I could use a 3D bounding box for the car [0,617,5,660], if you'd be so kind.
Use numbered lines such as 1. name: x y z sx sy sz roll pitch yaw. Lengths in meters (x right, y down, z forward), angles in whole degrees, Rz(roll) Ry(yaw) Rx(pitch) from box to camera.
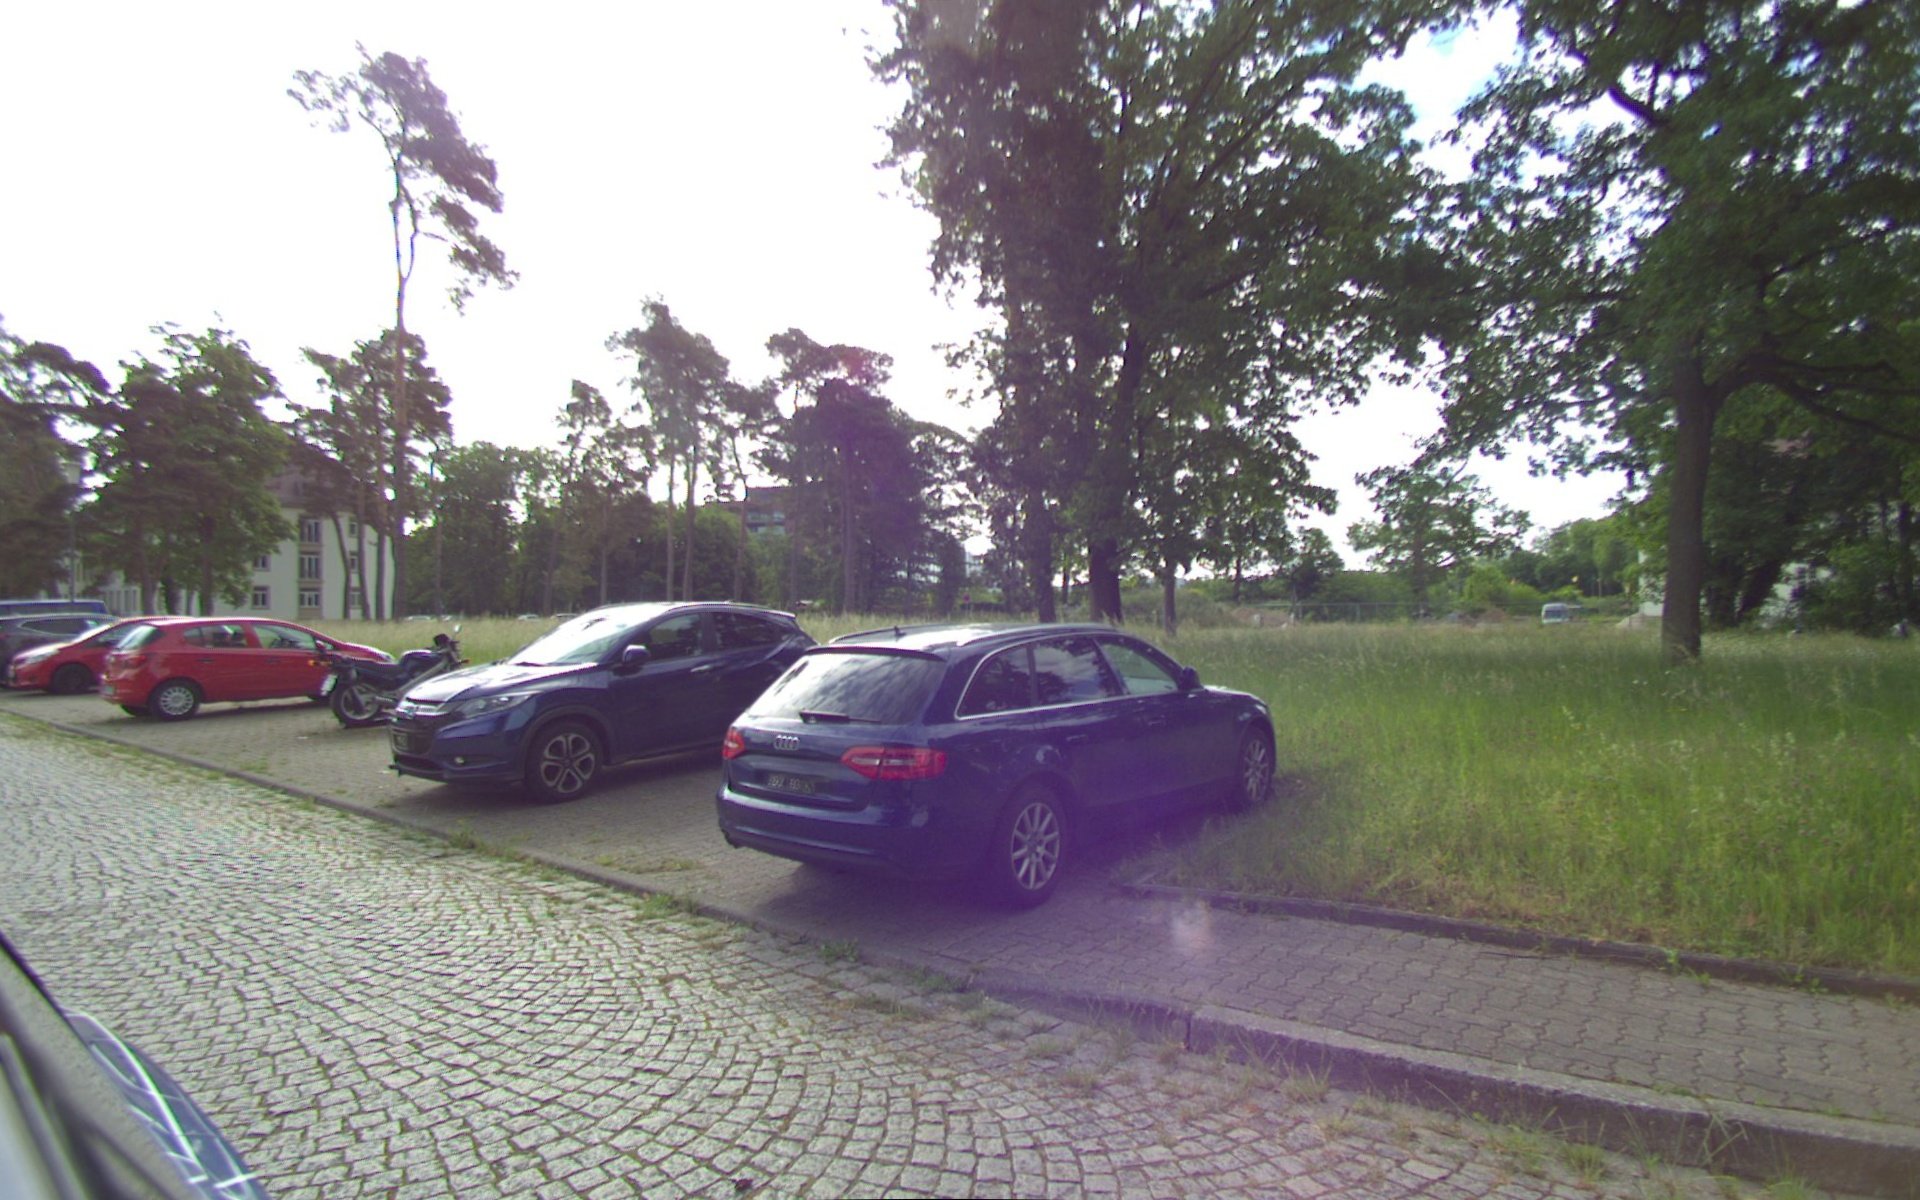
1. car: -33.237 1.313 32.394 1.612 1.431 3.564 0 1 30

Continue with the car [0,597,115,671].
1. car: -26.517 0.947 27.714 2.157 1.879 4.779 0 2 35

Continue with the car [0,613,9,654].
1. car: -35.304 1.249 34.726 1.600 1.445 3.537 0 2 30

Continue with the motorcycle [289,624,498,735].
1. motorcycle: -7.470 0.998 13.478 0.742 1.297 2.333 -1 -1 37

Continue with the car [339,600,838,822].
1. car: -3.187 0.792 9.437 1.787 1.585 4.101 0 0 36

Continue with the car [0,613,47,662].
1. car: -30.861 1.233 31.258 1.681 1.465 3.564 0 2 30

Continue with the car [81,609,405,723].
1. car: -11.143 0.936 15.967 1.669 1.490 3.848 -1 0 37

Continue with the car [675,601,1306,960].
1. car: 0.543 0.781 6.519 1.681 1.491 4.385 -1 -1 41

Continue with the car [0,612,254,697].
1. car: -17.058 1.049 20.779 1.704 1.532 3.904 -2 -1 37

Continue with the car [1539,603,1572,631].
1. car: 48.348 1.373 82.157 2.034 2.028 4.180 0 2 35

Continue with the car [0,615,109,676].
1. car: -24.546 1.196 25.907 1.739 1.403 3.886 0 2 35

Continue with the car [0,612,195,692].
1. car: -19.413 1.085 22.187 1.817 1.616 3.872 -1 -2 35
